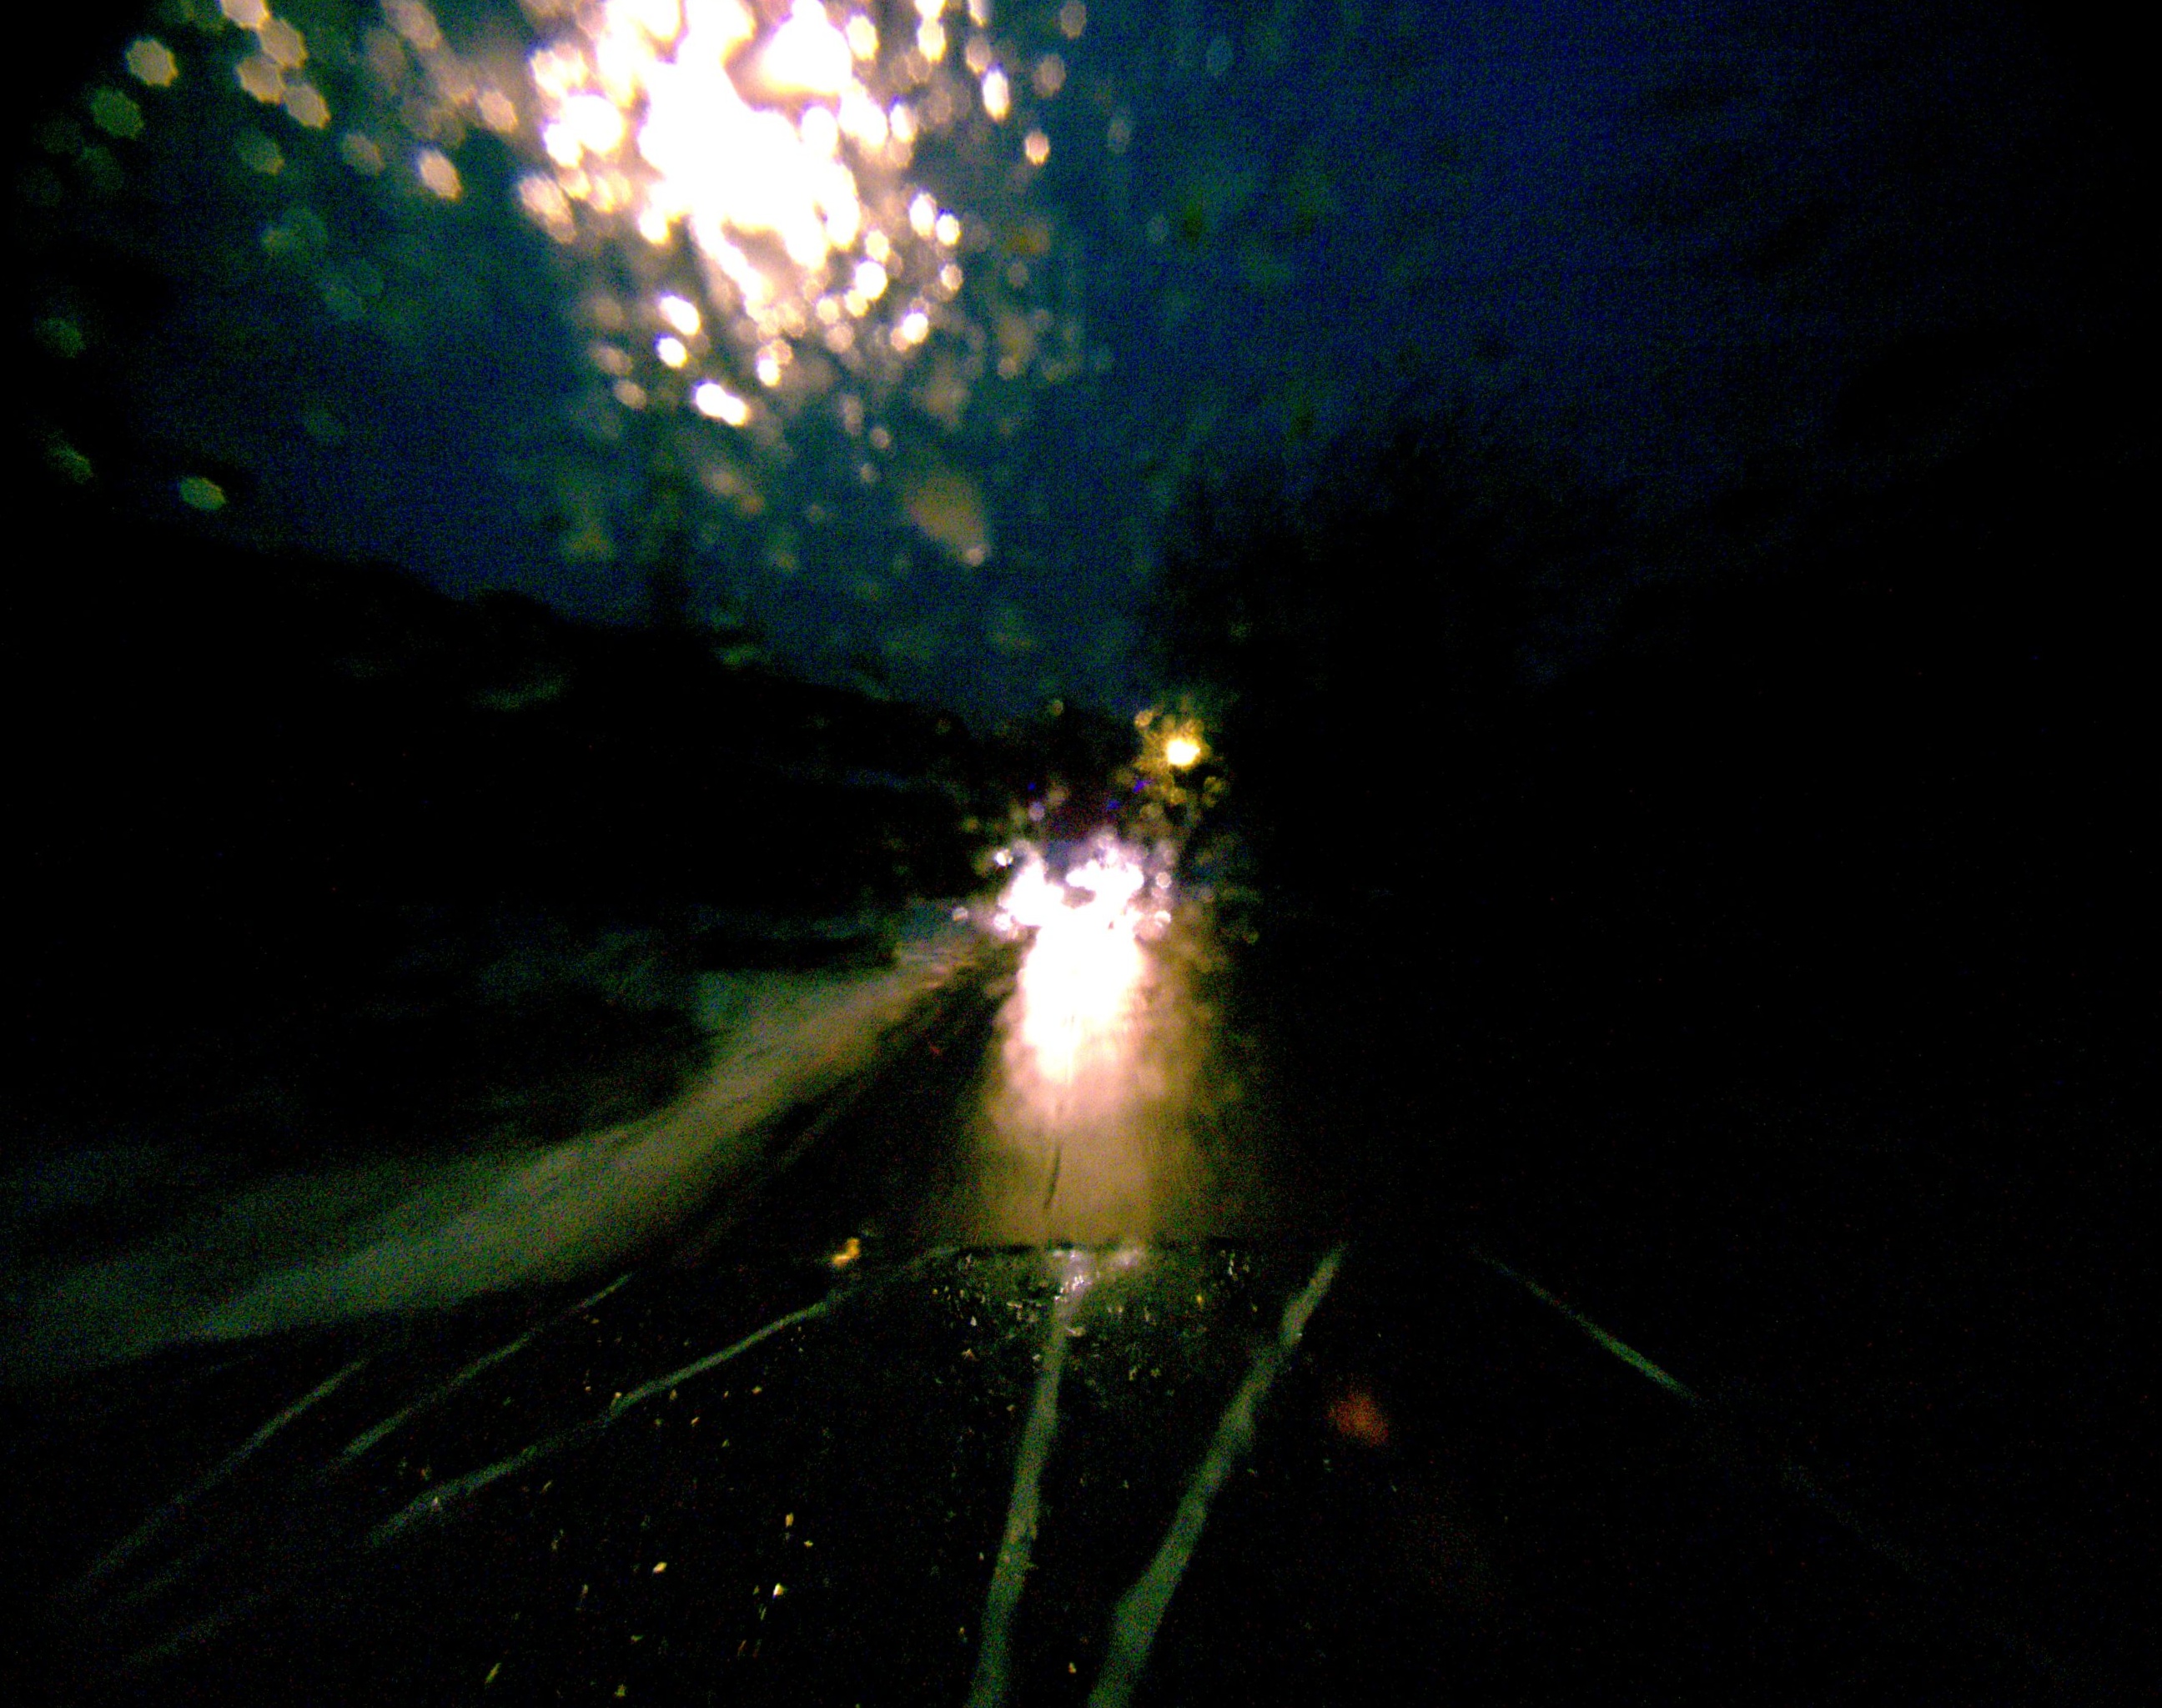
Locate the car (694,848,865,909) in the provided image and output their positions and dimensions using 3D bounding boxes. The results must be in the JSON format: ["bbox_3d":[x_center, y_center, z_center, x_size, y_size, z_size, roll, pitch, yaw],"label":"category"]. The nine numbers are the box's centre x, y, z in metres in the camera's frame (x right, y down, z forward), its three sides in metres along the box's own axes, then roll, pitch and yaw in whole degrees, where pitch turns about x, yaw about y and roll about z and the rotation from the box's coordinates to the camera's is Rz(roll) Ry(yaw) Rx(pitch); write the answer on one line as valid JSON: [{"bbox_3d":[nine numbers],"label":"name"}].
[{"bbox_3d":[-9.019,0.706,22.901,4.403,1.647,1.863,1,0,9],"label":"car"}]

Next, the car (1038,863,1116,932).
[{"bbox_3d":[-0.007,0.940,18.018,1.649,1.446,3.681,0,0,2],"label":"car"}]
